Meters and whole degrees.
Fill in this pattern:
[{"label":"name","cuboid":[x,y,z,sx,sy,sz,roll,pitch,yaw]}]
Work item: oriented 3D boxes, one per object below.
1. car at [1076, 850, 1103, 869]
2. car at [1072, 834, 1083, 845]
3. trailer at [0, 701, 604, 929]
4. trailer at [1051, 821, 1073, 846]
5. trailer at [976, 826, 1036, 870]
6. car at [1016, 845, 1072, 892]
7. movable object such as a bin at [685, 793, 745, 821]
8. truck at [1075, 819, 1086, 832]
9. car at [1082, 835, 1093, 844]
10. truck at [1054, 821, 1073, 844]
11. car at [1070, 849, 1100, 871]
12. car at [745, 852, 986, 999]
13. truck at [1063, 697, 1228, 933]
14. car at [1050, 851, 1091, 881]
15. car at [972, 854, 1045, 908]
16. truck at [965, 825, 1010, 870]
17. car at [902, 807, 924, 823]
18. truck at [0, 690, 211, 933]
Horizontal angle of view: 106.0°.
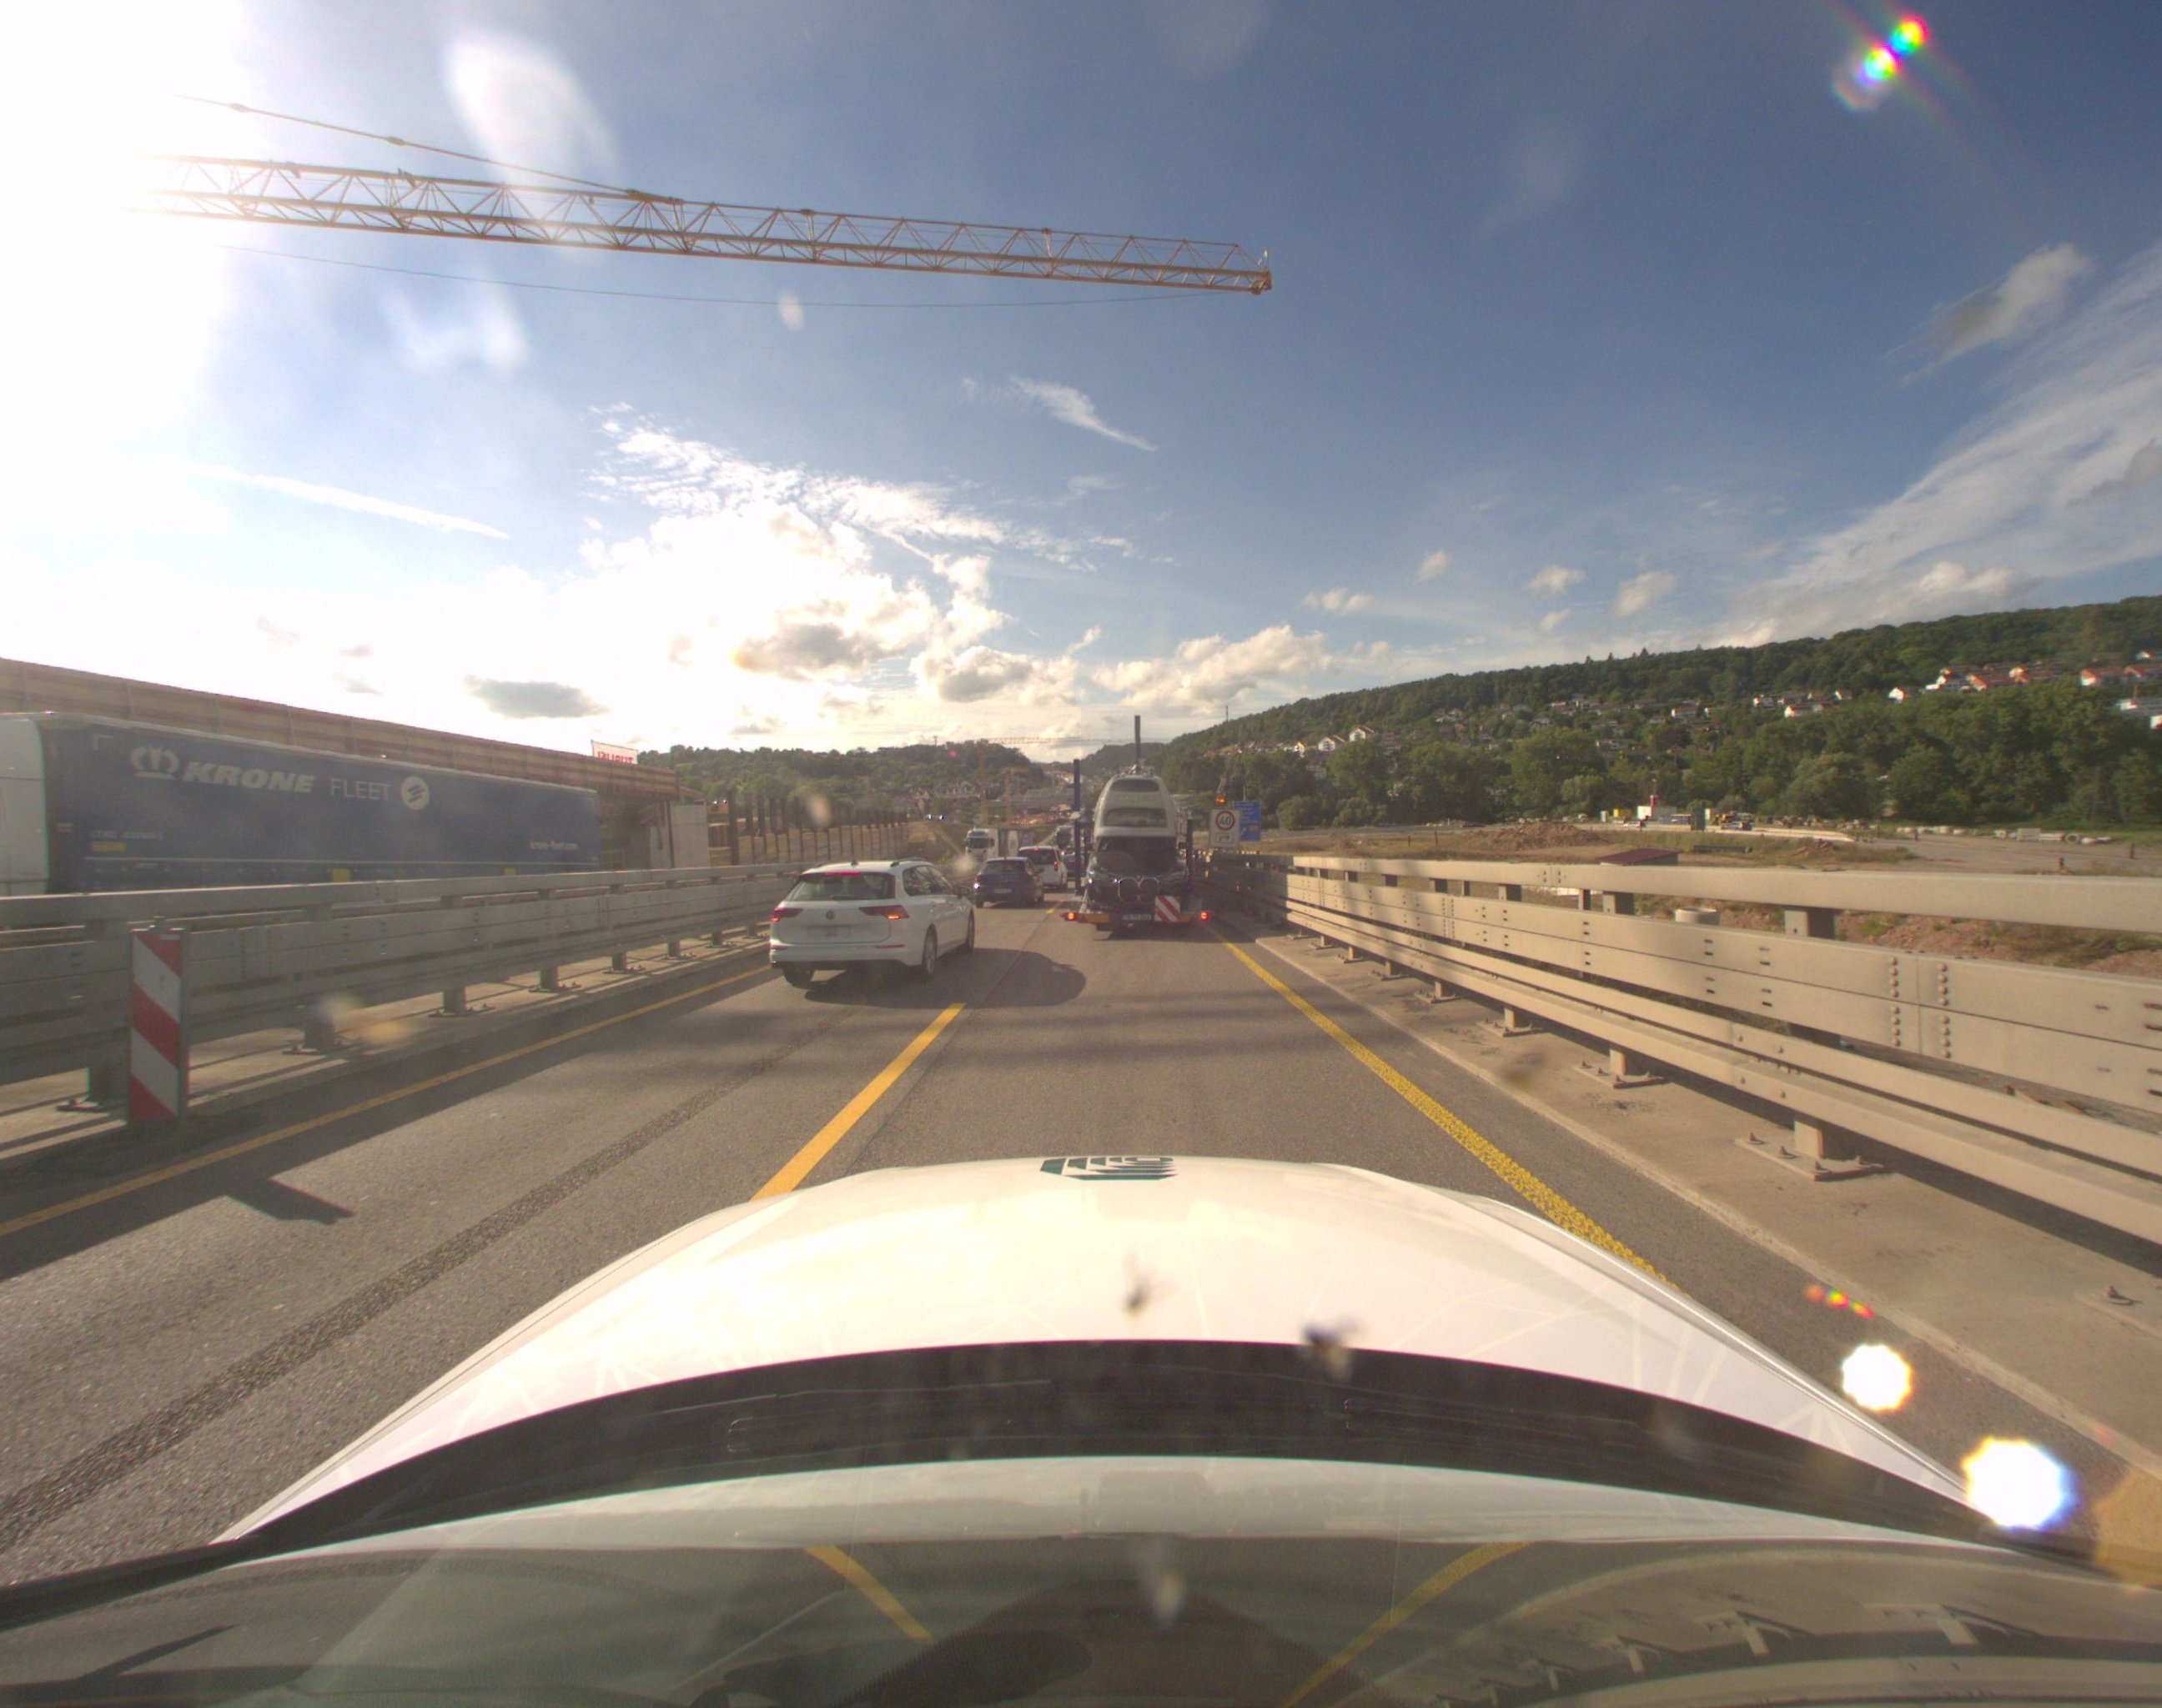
[{"label":"car","cuboid":[0.708,0.450,67.365,1.985,1.552,4.004,-1,-1,4]},{"label":"car","cuboid":[-0.795,-3.459,197.896,2.249,2.402,5.872,-1,-1,3]},{"label":"trailer","cuboid":[-17.276,-0.563,19.958,2.852,3.667,13.534,-1,-1,2]},{"label":"trailer","cuboid":[-3.580,-3.584,146.476,2.817,3.841,13.773,-1,-1,-6]},{"label":"trailer","cuboid":[-7.623,-0.529,85.721,2.671,4.156,13.850,-1,-1,10]},{"label":"car","cuboid":[-1.440,0.592,33.269,1.815,1.792,4.004,-1,-1,4]},{"label":"movable object such as a bin","cuboid":[-49.058,-6.280,109.369,5.705,3.270,4.527,-1,-1,14]},{"label":"truck","cuboid":[0.009,-8.163,231.113,2.689,3.311,7.542,-1,-1,3]},{"label":"car","cuboid":[1.357,-3.100,170.321,1.989,1.726,4.118,-1,-1,-3]},{"label":"truck","cuboid":[-2.987,-3.640,140.148,2.773,3.788,6.005,-1,-1,-6]},{"label":"car","cuboid":[0.311,0.423,59.368,1.985,1.552,4.003,-1,-1,3]},{"label":"car","cuboid":[-2.566,0.777,10.930,1.763,1.491,4.520,-2,-1,3]},{"label":"truck","cuboid":[1.420,-0.575,23.092,2.743,3.955,18.897,0,-1,2]},{"label":"car","cuboid":[-0.558,0.672,46.336,1.985,1.556,4.405,-1,-1,4]},{"label":"car","cuboid":[-2.089,0.742,24.436,1.716,1.422,4.000,-2,0,1]},{"label":"truck","cuboid":[-8.919,-0.585,78.533,2.695,4.137,5.986,-1,-1,10]},{"label":"car","cuboid":[-27.152,-6.279,131.765,1.986,2.140,5.324,-6,-1,2]},{"label":"truck","cuboid":[-17.520,-0.618,12.599,2.831,3.628,4.812,-1,-1,2]}]
